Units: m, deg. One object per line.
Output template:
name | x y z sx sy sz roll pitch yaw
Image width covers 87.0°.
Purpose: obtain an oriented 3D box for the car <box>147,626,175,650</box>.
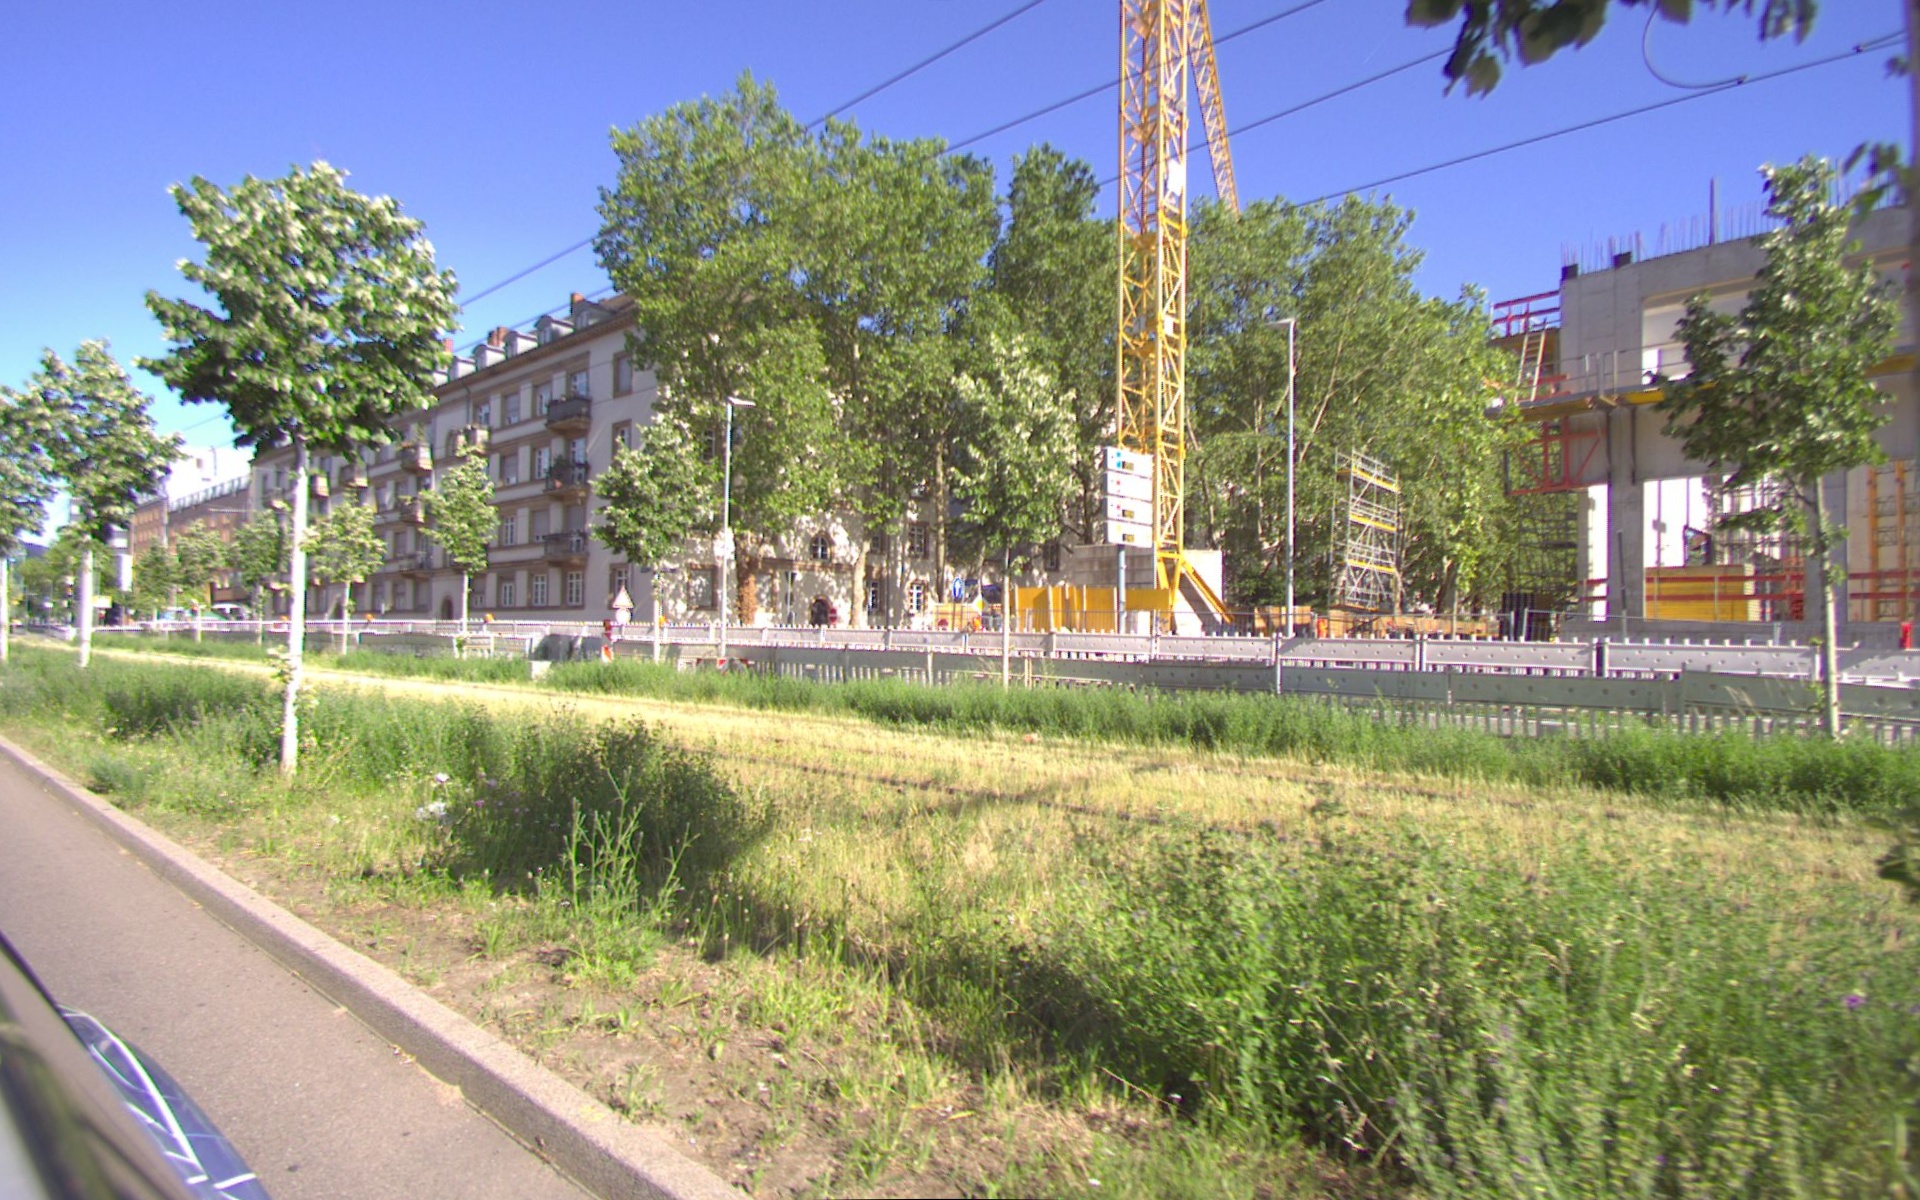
car | -81.784 3.879 103.606 1.969 2.314 5.196 1 -1 -41
